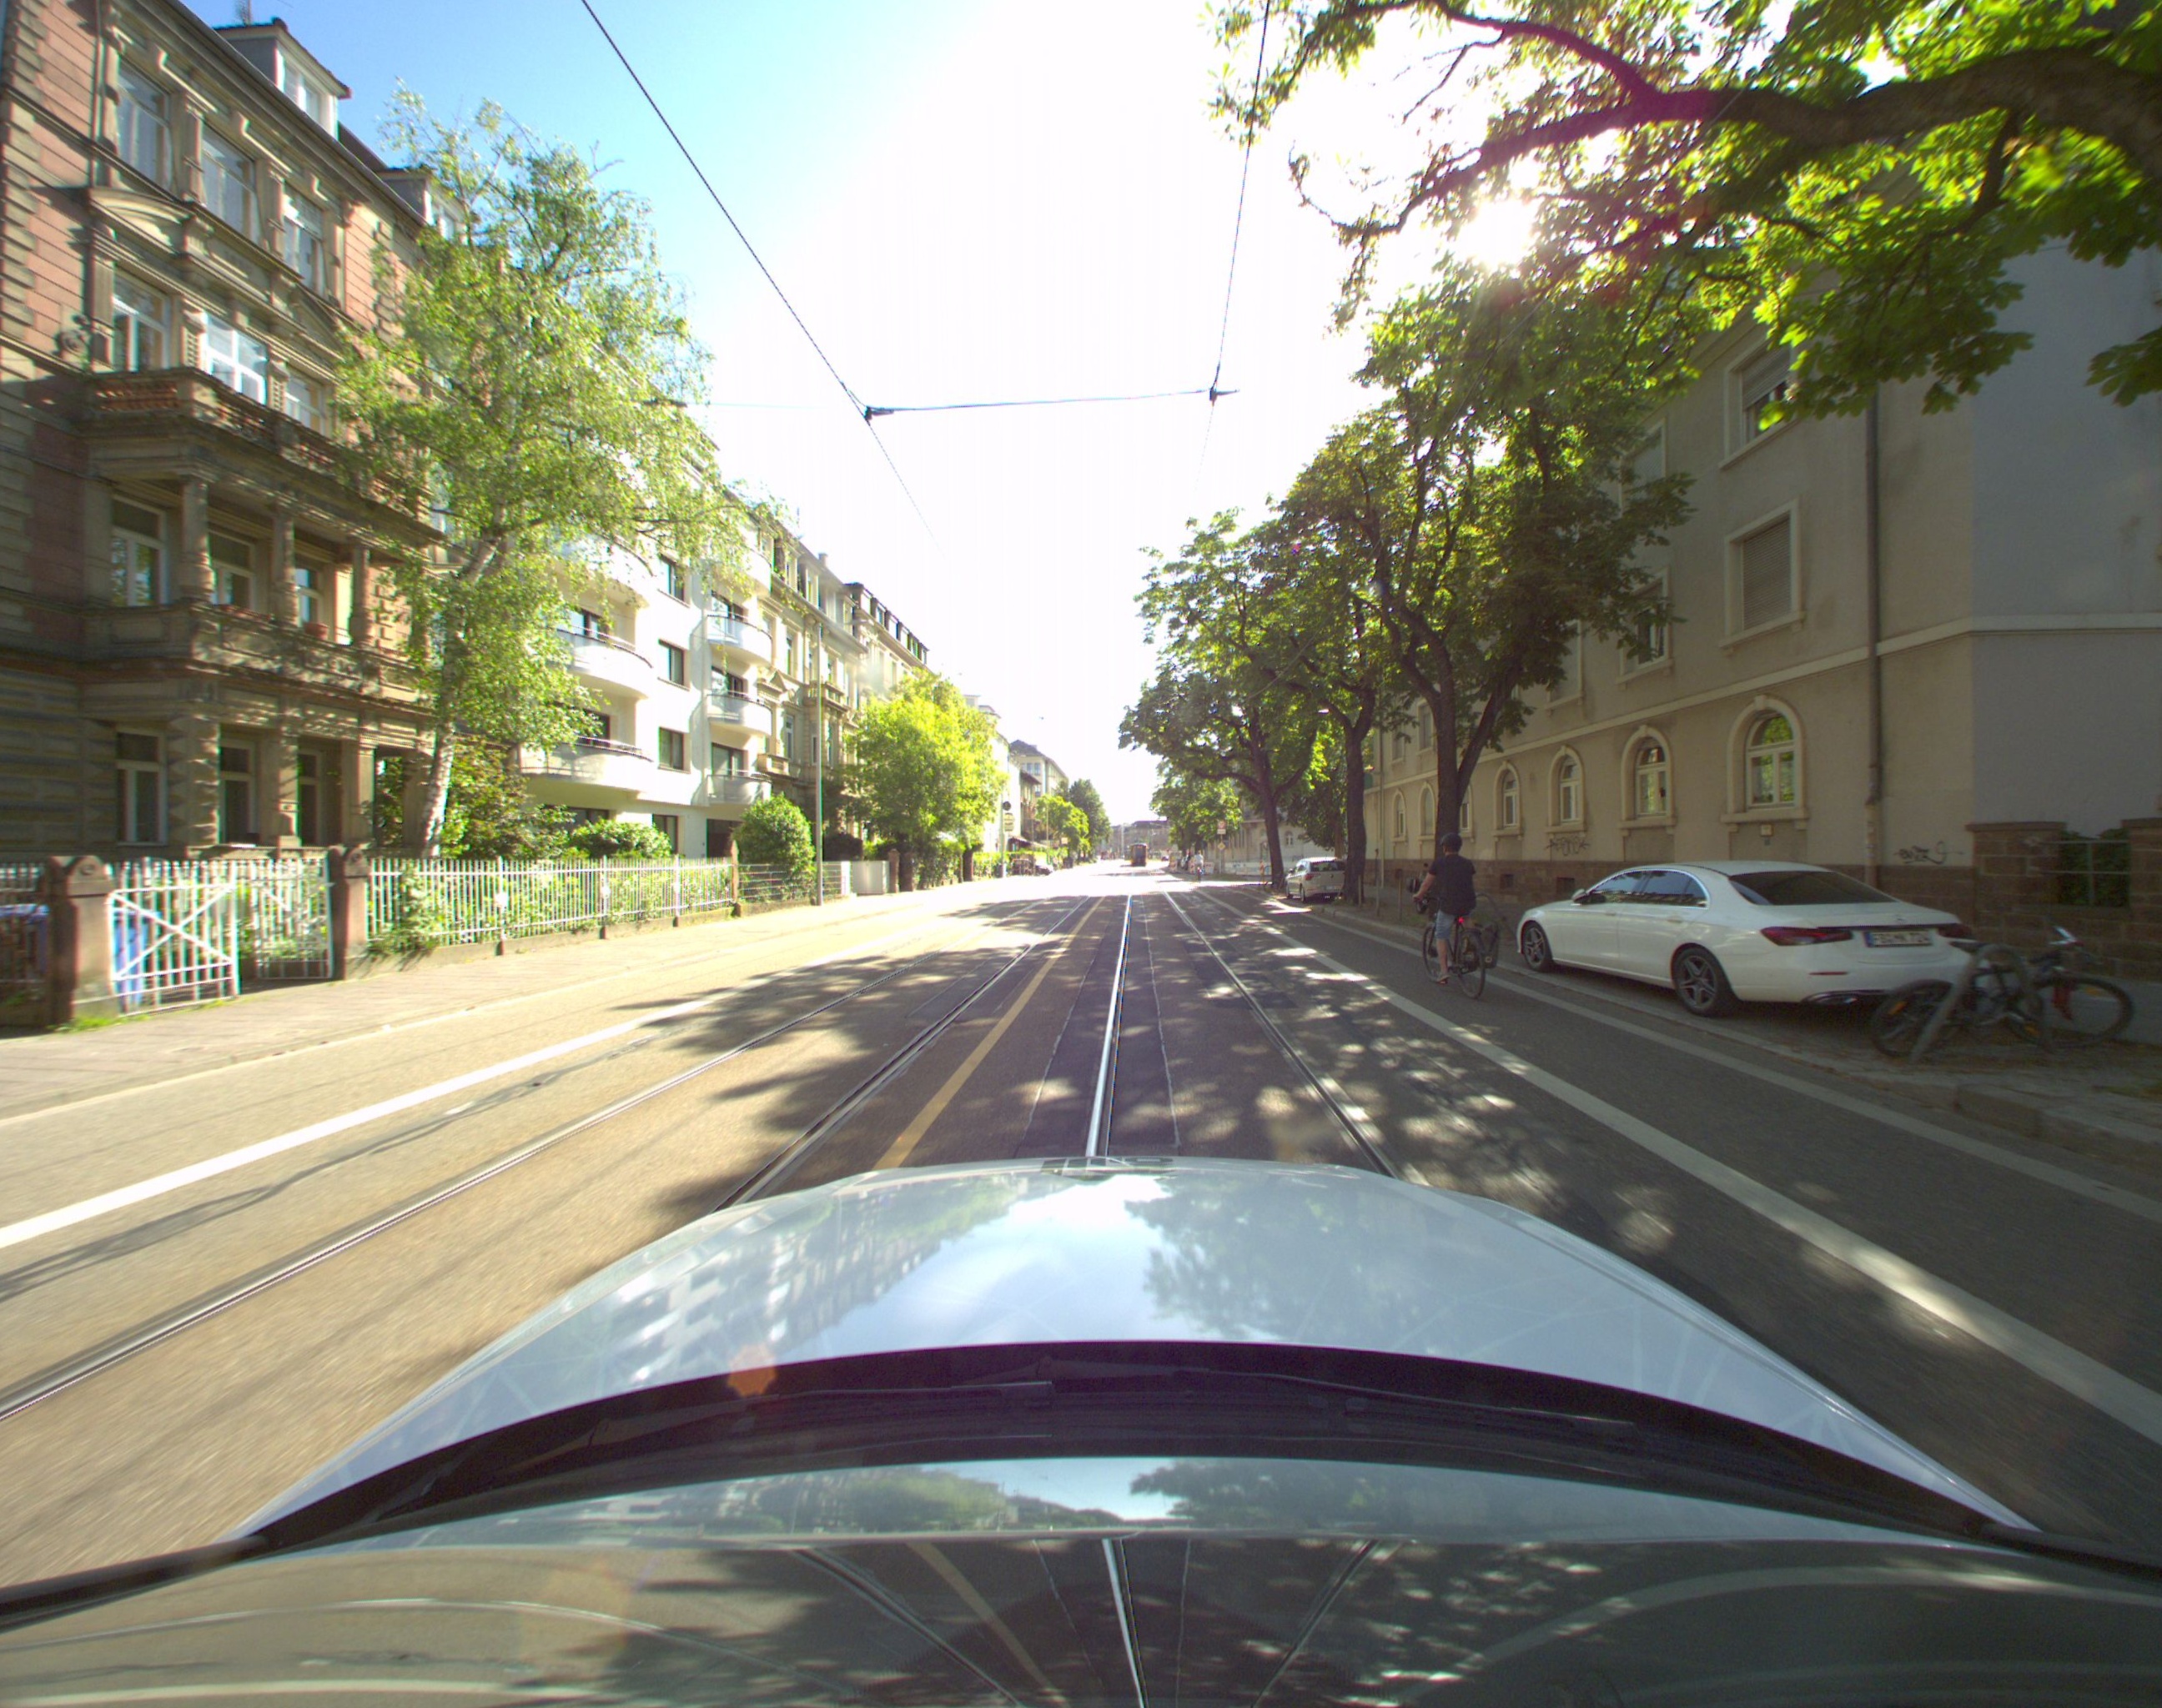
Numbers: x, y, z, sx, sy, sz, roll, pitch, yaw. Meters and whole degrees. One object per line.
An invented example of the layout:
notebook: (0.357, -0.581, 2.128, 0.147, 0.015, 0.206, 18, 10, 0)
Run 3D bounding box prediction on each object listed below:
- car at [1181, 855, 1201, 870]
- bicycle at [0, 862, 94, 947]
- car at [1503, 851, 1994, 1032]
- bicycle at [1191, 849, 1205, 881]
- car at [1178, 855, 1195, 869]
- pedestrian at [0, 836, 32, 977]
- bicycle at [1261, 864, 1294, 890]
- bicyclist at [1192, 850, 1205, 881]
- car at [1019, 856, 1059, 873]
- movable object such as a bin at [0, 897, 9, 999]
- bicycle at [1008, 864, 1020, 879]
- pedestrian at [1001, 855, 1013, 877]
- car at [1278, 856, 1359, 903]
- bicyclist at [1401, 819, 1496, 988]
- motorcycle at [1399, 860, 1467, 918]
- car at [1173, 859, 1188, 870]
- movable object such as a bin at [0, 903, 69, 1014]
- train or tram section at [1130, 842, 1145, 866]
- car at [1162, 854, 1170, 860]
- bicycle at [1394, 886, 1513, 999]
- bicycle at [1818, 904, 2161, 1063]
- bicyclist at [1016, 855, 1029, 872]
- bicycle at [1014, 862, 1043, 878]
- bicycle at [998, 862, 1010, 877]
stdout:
car: (11.516, 0.843, 85.405, 1.746, 1.552, 3.680, 1, 0, 3)
bicycle: (-13.284, 0.612, 10.178, 1.453, 1.012, 0.424, 1, 0, 4)
car: (6.671, 0.713, 8.996, 1.623, 1.436, 4.665, -1, 0, 1)
bicycle: (6.921, 0.637, 48.217, 0.660, 1.859, 2.263, 1, 0, 5)
car: (12.155, 0.920, 94.006, 1.746, 1.552, 3.680, 1, 0, 3)
pedestrian: (-13.045, 0.617, 9.609, 0.511, 1.673, 0.607, 1, 0, 3)
bicycle: (7.999, 0.917, 33.154, 1.262, 1.024, 0.706, 1, -1, 11)
bicyclist: (6.855, 0.683, 47.544, 0.642, 1.796, 0.956, 1, 0, 3)
car: (-3.709, 0.948, 71.275, 1.768, 1.420, 3.539, 1, -2, -37)
movable object such as a bin: (-11.577, 0.980, 8.254, 0.582, 1.054, 0.620, 1, 0, 3)
bicycle: (-4.944, 1.293, 59.977, 0.633, 1.069, 1.823, 1, 0, -14)
pedestrian: (-5.654, 0.906, 62.264, 0.766, 1.712, 0.670, 1, 0, 4)
car: (7.956, 0.798, 27.603, 1.741, 1.420, 4.003, -2, 0, 3)
bicyclist: (4.217, 0.545, 9.398, 0.724, 1.848, 0.837, 1, 0, 3)
motorcycle: (8.142, 0.768, 18.935, 0.707, 1.243, 2.186, -1, 0, 3)
car: (13.512, 1.411, 110.510, 1.746, 1.552, 3.680, 0, 0, 3)
movable object such as a bin: (-10.911, 1.048, 8.222, 0.582, 1.054, 0.620, 1, 0, 3)
train or tram section: (8.536, 0.043, 122.316, 2.144, 3.431, 6.617, 1, 0, 4)
car: (21.629, 0.742, 208.291, 1.864, 1.662, 3.518, 1, 0, 3)
bicycle: (4.256, 0.964, 9.451, 0.688, 1.112, 1.720, 1, 0, 4)
bicycle: (6.735, 0.944, 6.096, 1.785, 1.019, 0.621, -3, 0, 3)
bicyclist: (-4.626, 0.735, 64.659, 0.766, 1.291, 0.737, 1, 0, 20)
bicycle: (-4.181, 1.263, 64.512, 2.122, 1.171, 0.806, 1, 0, 18)
bicycle: (-5.603, 1.102, 59.002, 0.633, 1.069, 1.823, 1, 0, -13)
